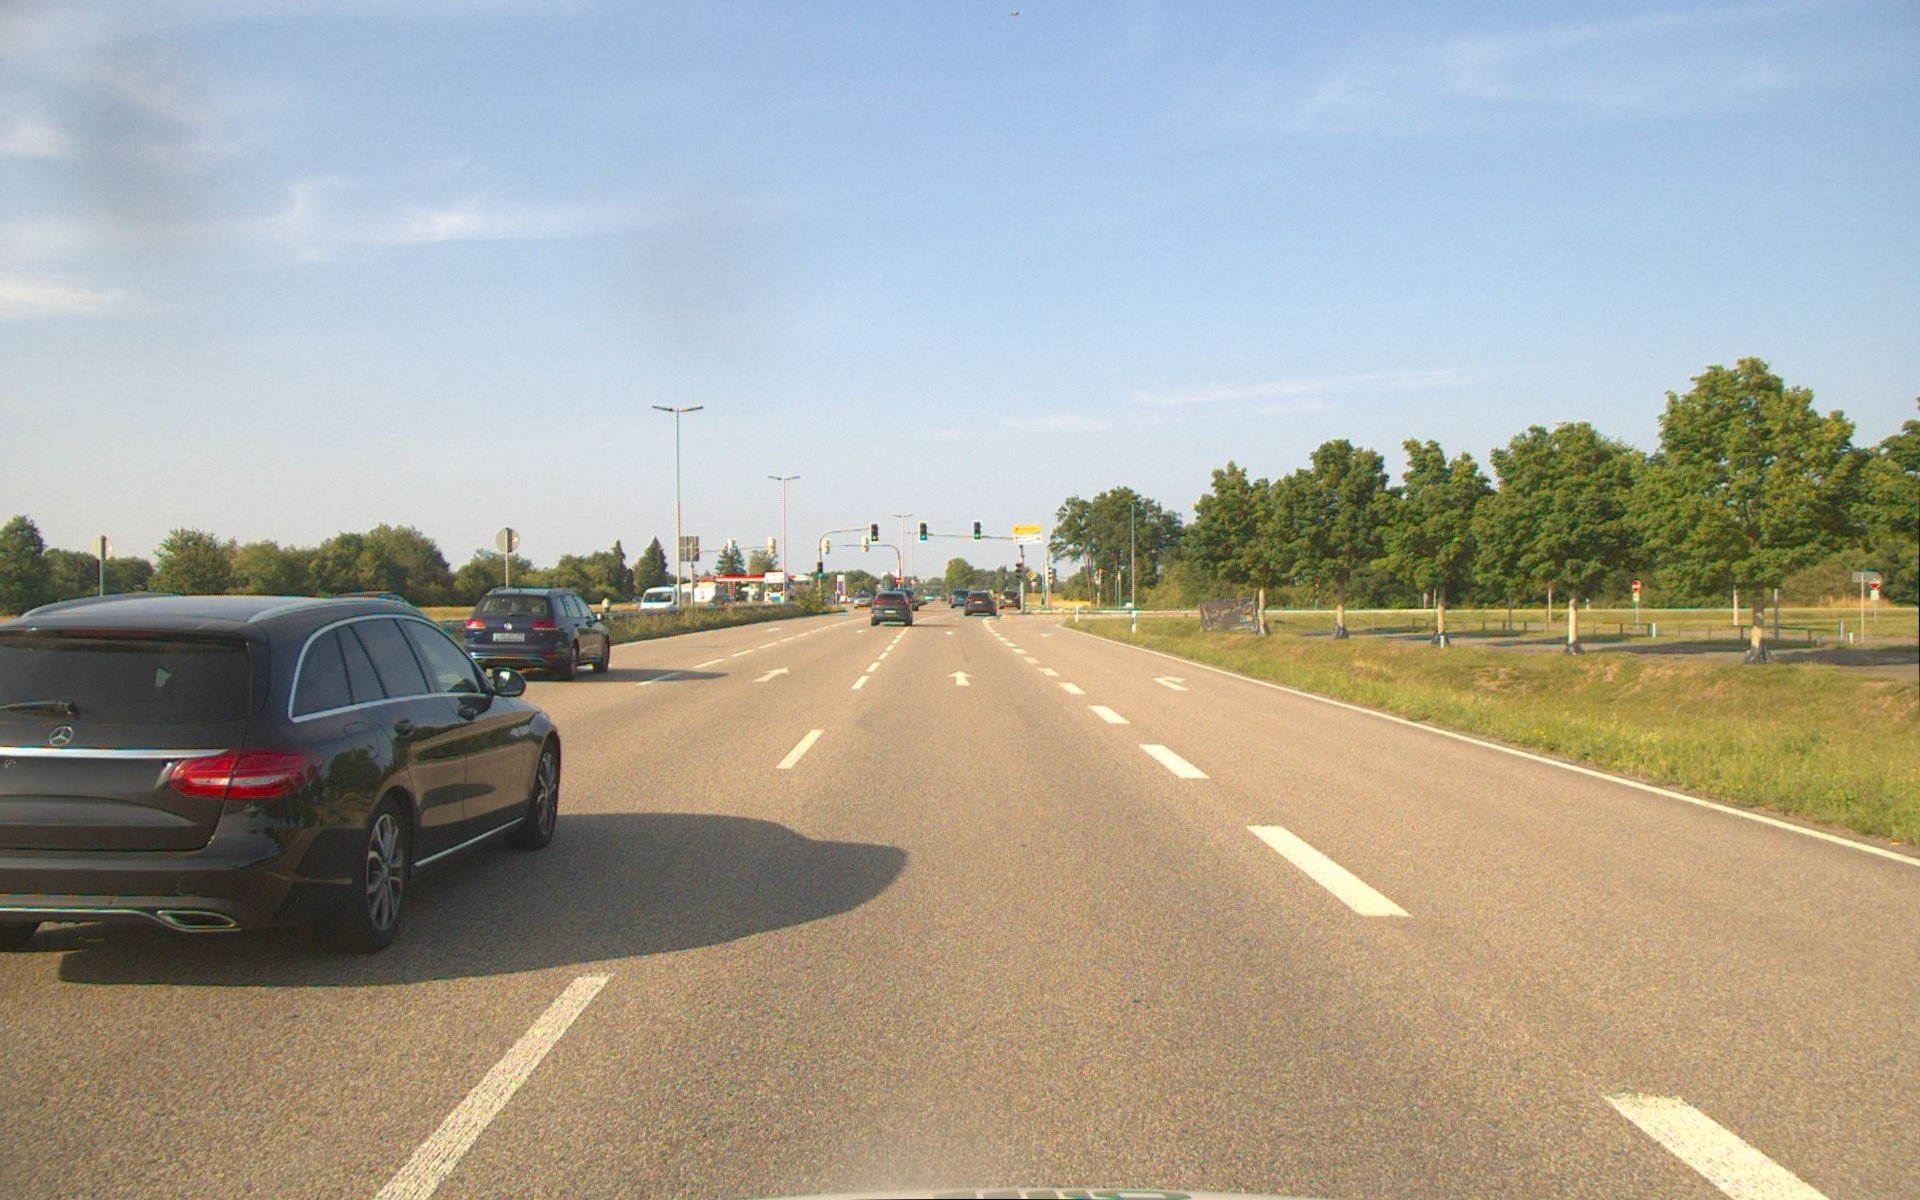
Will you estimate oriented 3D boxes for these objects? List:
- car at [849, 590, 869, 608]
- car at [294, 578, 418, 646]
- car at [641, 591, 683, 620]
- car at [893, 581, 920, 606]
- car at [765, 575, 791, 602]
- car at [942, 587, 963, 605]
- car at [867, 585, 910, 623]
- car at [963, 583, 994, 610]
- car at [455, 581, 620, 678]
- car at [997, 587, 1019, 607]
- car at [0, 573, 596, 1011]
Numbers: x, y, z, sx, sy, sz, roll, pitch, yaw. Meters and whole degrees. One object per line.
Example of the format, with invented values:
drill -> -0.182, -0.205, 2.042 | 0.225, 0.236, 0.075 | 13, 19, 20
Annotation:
car -> -9.144, -0.105, 150.377 | 1.567, 1.559, 3.999 | 2, 0, -1
car -> -13.975, 0.277, 38.463 | 1.577, 1.466, 3.619 | 1, 0, -1
car -> -14.727, 0.258, 81.782 | 1.490, 1.386, 3.443 | 0, 0, -1
car -> -4.106, -0.491, 127.991 | 1.953, 1.915, 3.999 | 1, 0, -1
car -> -19.222, -1.216, 175.185 | 2.225, 2.902, 5.248 | 0, 0, -1
car -> -0.654, -0.392, 146.729 | 1.776, 1.488, 4.400 | 2, 0, -1
car -> -3.306, 0.162, 77.071 | 1.808, 1.640, 4.400 | 2, 0, -1
car -> 1.233, -0.224, 110.502 | 1.893, 1.709, 4.400 | 2, 0, -1
car -> -7.095, 0.477, 28.234 | 1.613, 1.497, 4.775 | 1, 0, -1
car -> 4.159, -0.248, 143.895 | 1.713, 1.645, 3.757 | 2, 0, -1
car -> -3.105, 0.638, 8.173 | 1.540, 1.497, 5.022 | 0, 0, -1
